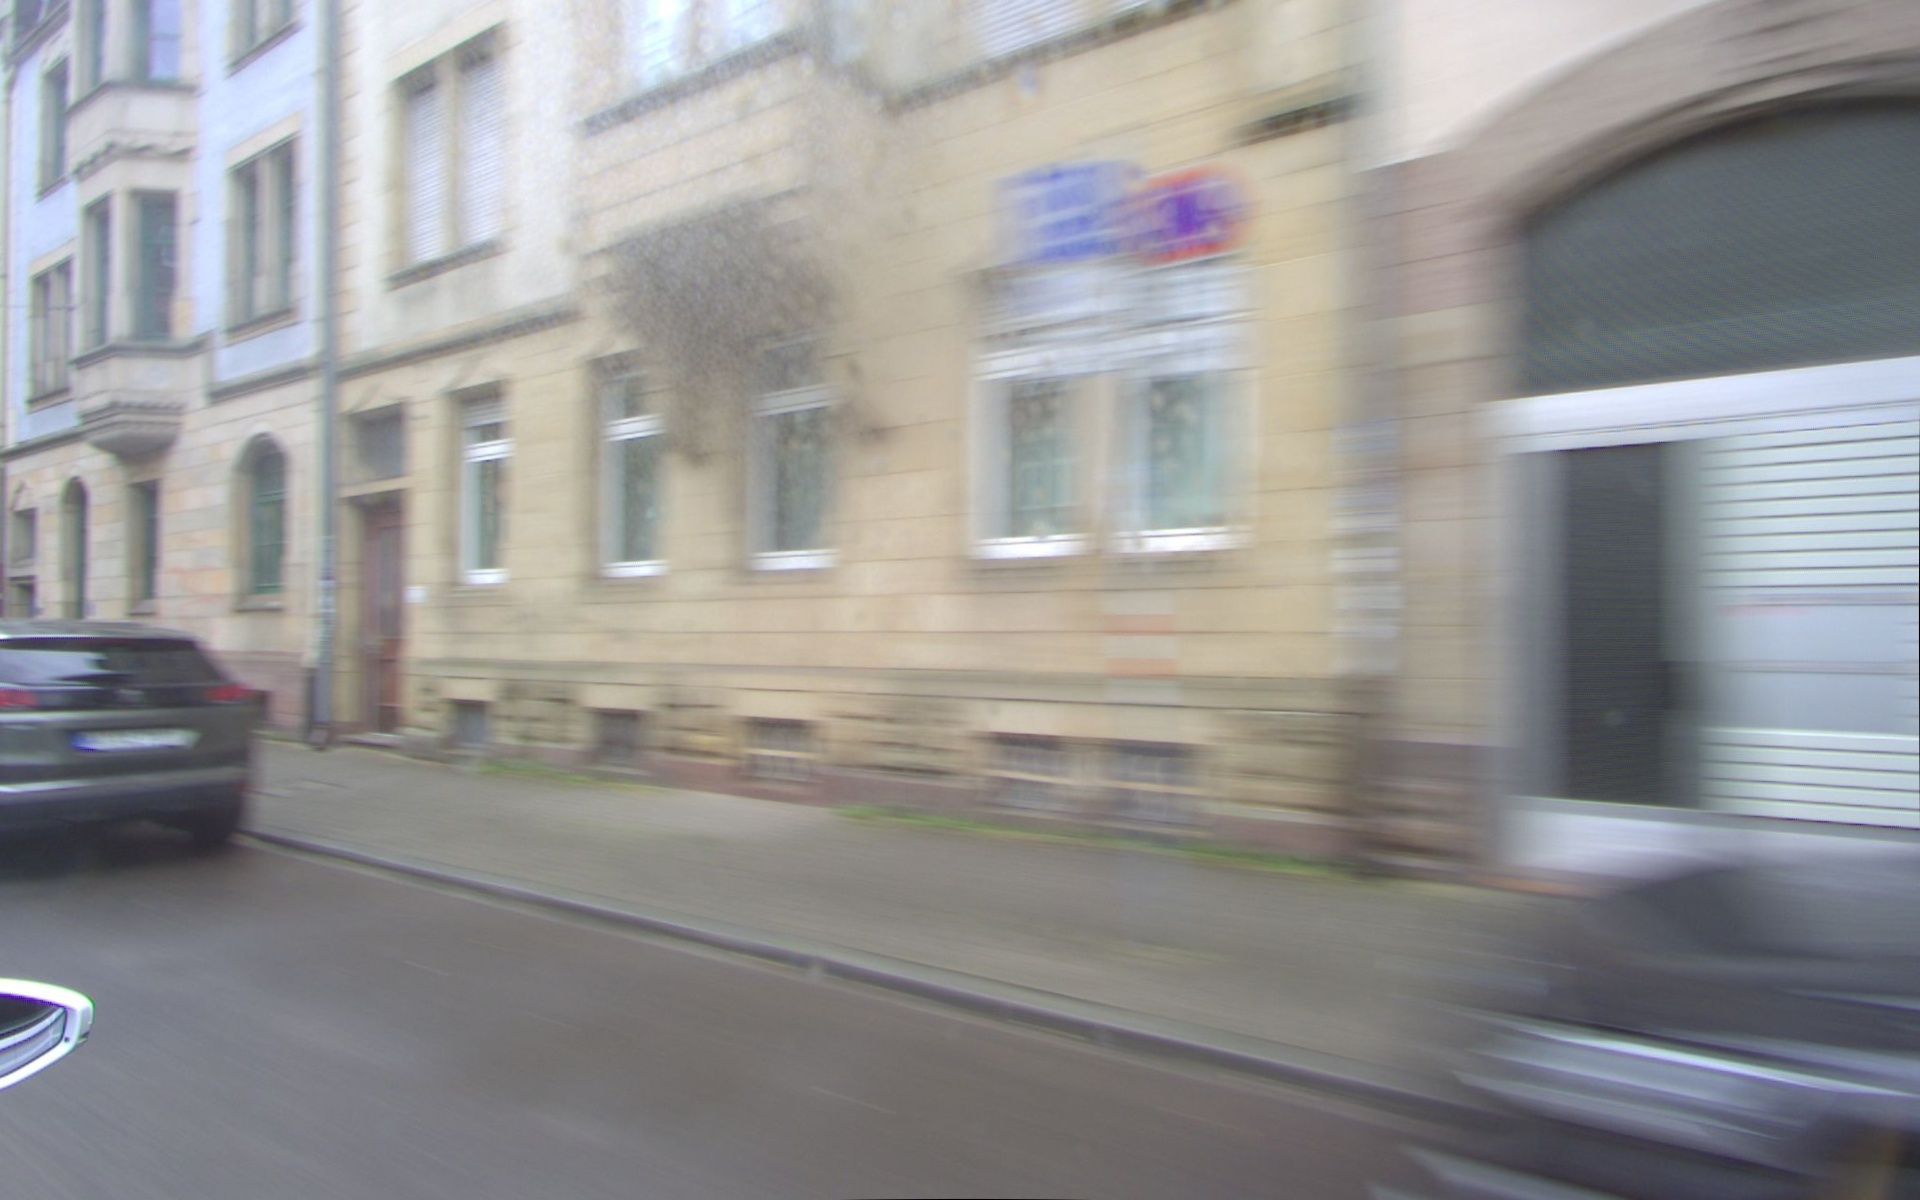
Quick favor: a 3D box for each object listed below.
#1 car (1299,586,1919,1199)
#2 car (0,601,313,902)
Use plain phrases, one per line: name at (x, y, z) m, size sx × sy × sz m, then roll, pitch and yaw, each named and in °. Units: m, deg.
car at (2.852, 0.805, 1.270) m, size 4.354 × 1.531 × 1.697 m, roll -1°, pitch -5°, yaw 31°
car at (-6.871, 0.878, 7.277) m, size 4.625 × 1.642 × 1.757 m, roll -1°, pitch -2°, yaw 31°
